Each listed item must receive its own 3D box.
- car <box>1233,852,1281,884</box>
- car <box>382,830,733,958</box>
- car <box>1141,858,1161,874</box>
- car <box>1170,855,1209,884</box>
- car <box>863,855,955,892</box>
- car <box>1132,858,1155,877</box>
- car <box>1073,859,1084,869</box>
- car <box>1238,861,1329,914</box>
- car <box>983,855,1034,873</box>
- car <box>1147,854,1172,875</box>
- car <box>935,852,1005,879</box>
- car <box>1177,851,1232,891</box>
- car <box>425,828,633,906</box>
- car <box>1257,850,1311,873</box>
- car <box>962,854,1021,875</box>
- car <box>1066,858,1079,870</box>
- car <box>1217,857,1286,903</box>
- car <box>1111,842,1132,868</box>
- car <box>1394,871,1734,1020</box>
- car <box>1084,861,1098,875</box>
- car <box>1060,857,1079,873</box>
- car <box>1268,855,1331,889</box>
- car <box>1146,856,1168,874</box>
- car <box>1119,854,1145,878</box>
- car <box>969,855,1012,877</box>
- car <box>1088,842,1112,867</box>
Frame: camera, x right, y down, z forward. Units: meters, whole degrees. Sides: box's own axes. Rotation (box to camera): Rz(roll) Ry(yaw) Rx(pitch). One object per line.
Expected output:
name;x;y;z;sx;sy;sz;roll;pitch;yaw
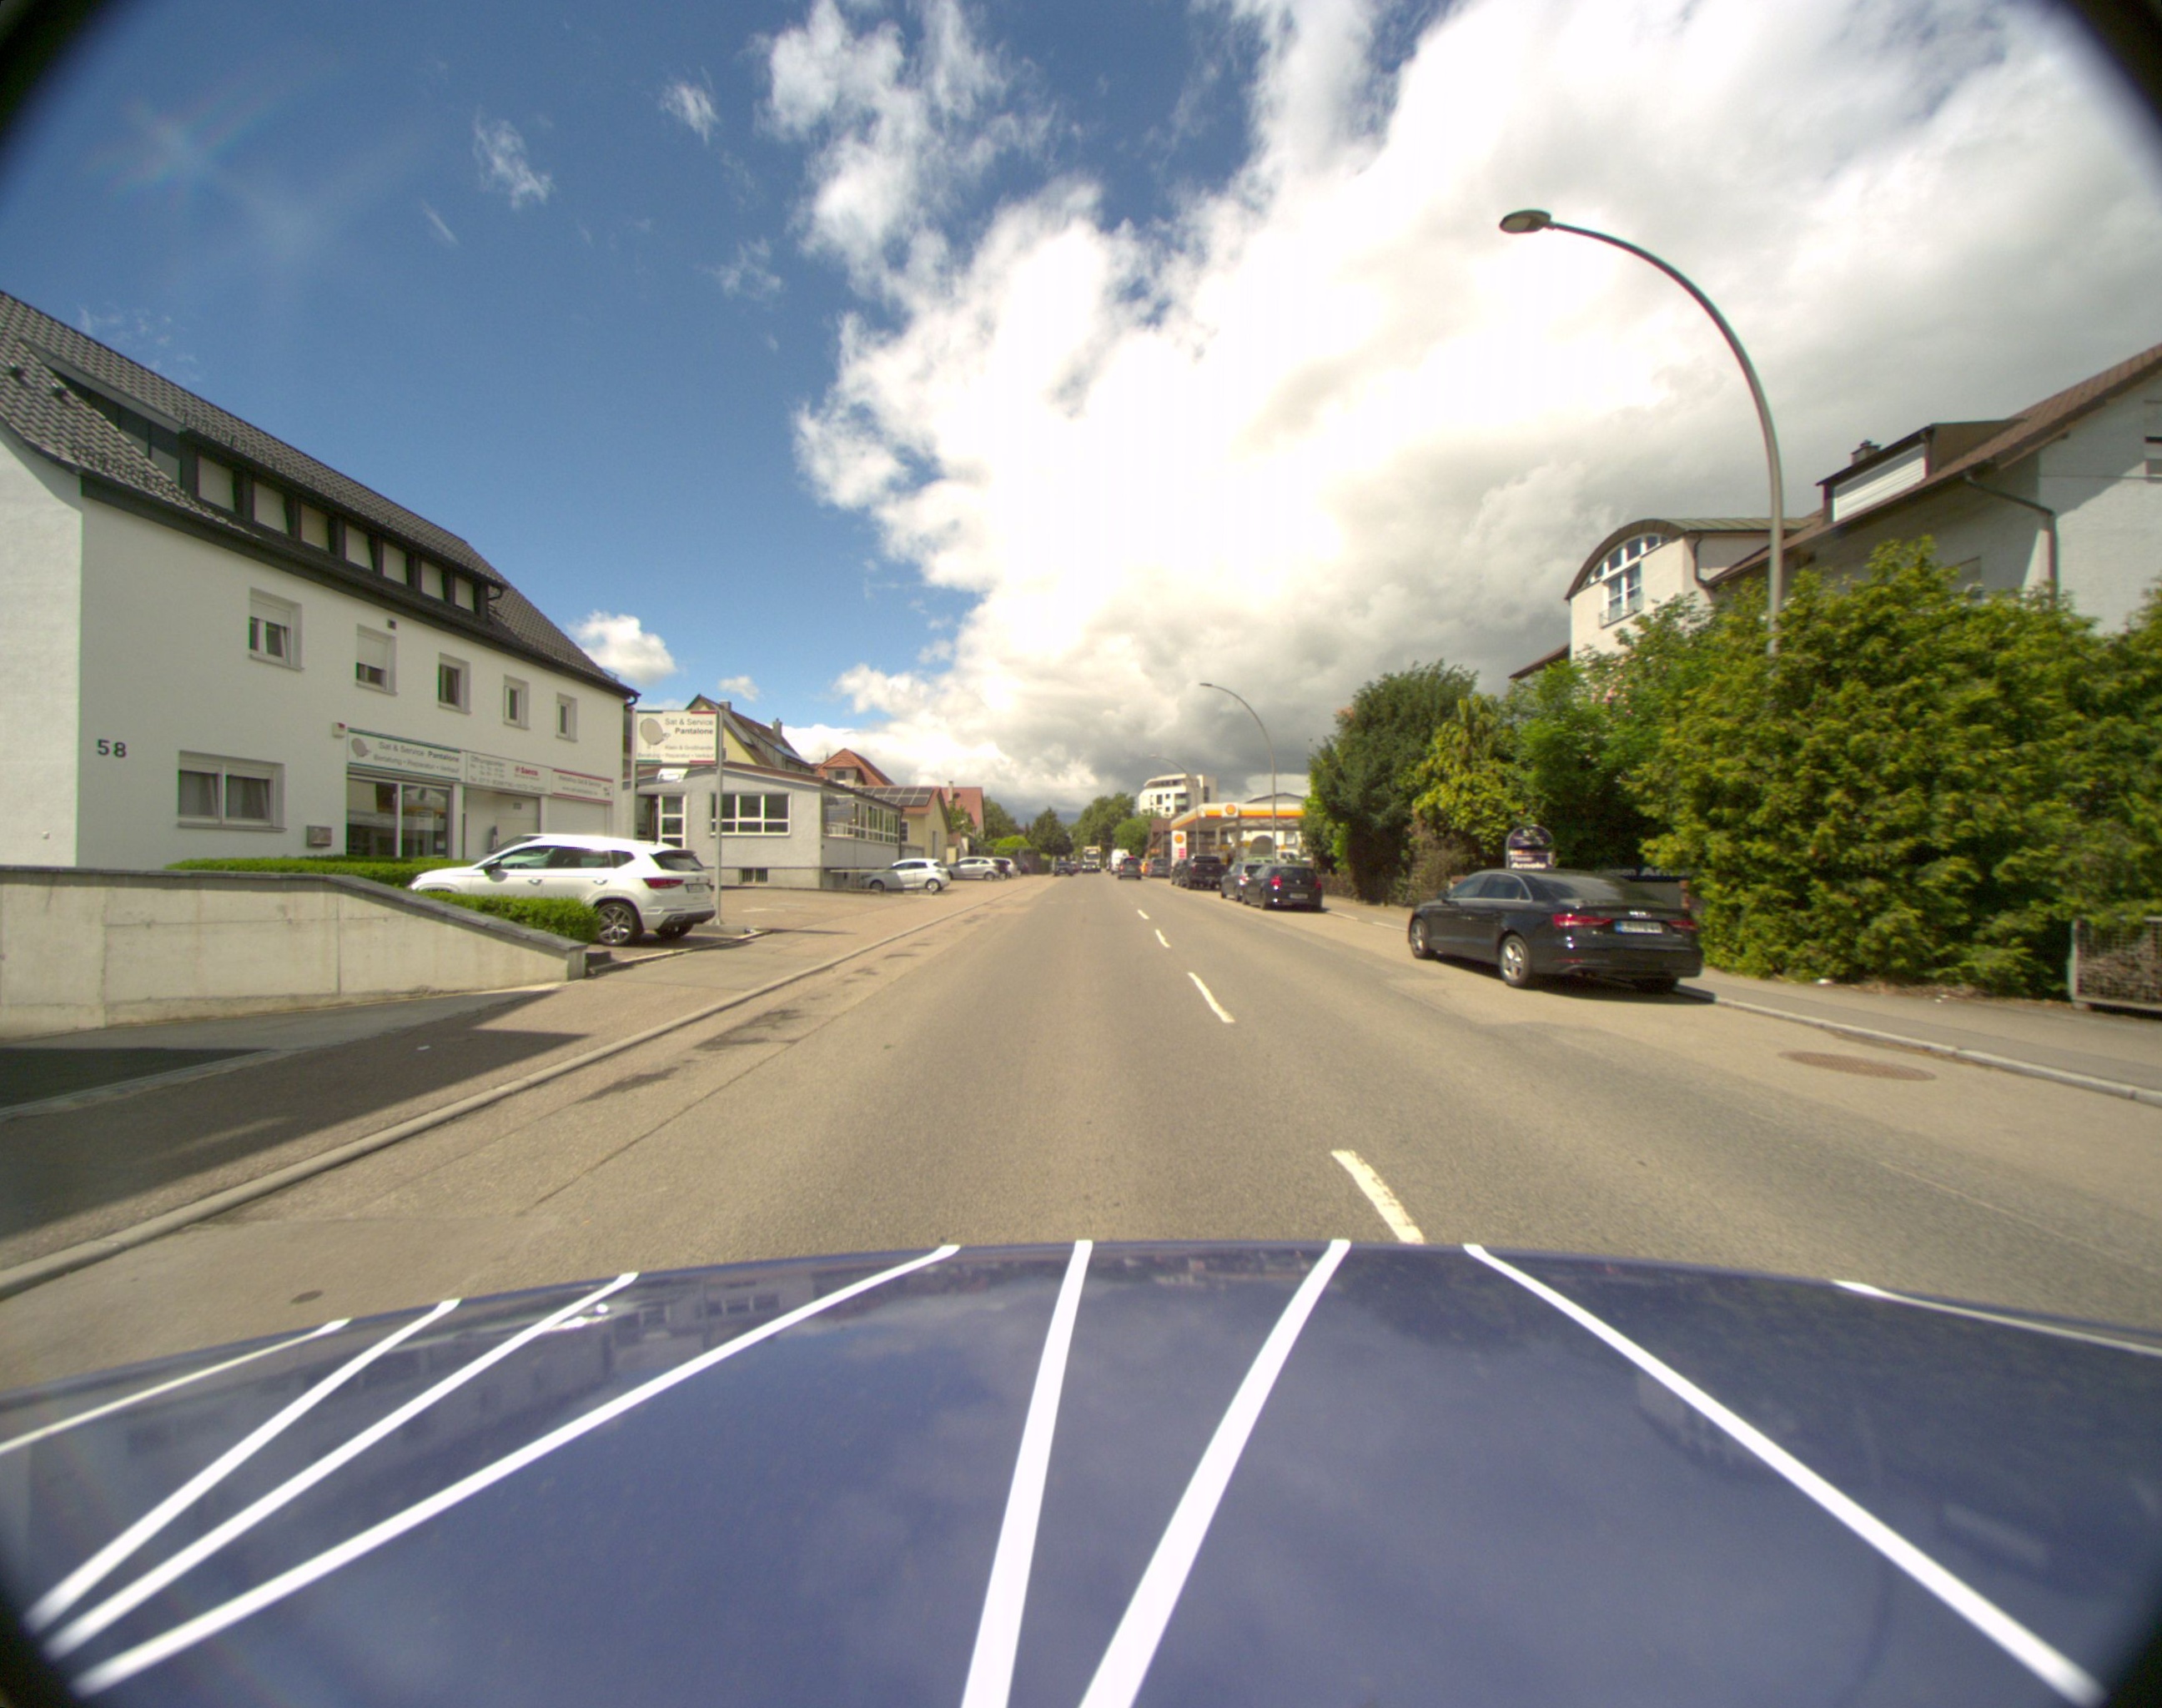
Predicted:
car;10.250;0.792;44.625;1.797;1.775;4.338;-1;0;0
car;-8.109;0.592;12.077;4.202;1.644;1.867;3;0;0
car;7.086;1.191;76.897;1.666;1.505;3.946;3;0;2
car;6.490;0.905;45.795;1.667;1.670;4.526;1;0;1
car;-8.098;0.897;36.013;3.909;1.599;1.749;-2;0;-1
car;6.760;1.432;82.636;1.789;1.857;4.315;3;0;-2
car;-0.459;1.714;131.344;1.789;1.555;3.880;-1;0;1
car;6.153;0.952;23.574;1.667;1.427;4.338;2;0;1
car;-6.518;0.913;68.375;4.419;1.399;1.974;3;0;-2
car;6.797;0.907;66.353;1.733;1.727;4.190;3;0;1
car;-7.546;0.793;51.991;4.419;1.599;1.974;3;0;-2
car;6.348;0.840;39.661;1.915;1.810;5.430;3;0;1
car;-12.273;0.306;17.218;1.634;1.510;3.668;3;-1;8
car;17.358;0.600;64.784;4.993;1.841;1.970;-1;0;-41
car;-7.092;0.829;60.366;4.419;1.516;1.974;3;0;-2
car;-1.198;1.456;110.443;1.789;1.555;3.880;-1;0;1
car;6.264;0.913;28.391;1.667;1.502;3.945;3;0;1
car;4.421;0.096;83.911;1.997;2.749;6.164;1;0;1
car;5.787;0.978;9.864;1.667;1.406;4.338;1;0;1
car;1.305;1.854;100.560;1.891;1.708;4.000;1;0;0
car;-1.159;1.135;77.582;1.789;1.548;4.317;-1;0;2
car;12.802;0.987;44.729;1.798;1.775;4.334;-3;1;-10
car;7.244;1.039;72.888;1.667;1.505;4.190;3;0;1
car;3.960;0.889;59.655;1.667;1.785;4.338;1;0;0
car;-6.676;0.880;56.312;2.895;1.516;1.974;3;0;-2
car;2.807;0.083;114.651;3.263;3.596;10.268;-1;0;-1
